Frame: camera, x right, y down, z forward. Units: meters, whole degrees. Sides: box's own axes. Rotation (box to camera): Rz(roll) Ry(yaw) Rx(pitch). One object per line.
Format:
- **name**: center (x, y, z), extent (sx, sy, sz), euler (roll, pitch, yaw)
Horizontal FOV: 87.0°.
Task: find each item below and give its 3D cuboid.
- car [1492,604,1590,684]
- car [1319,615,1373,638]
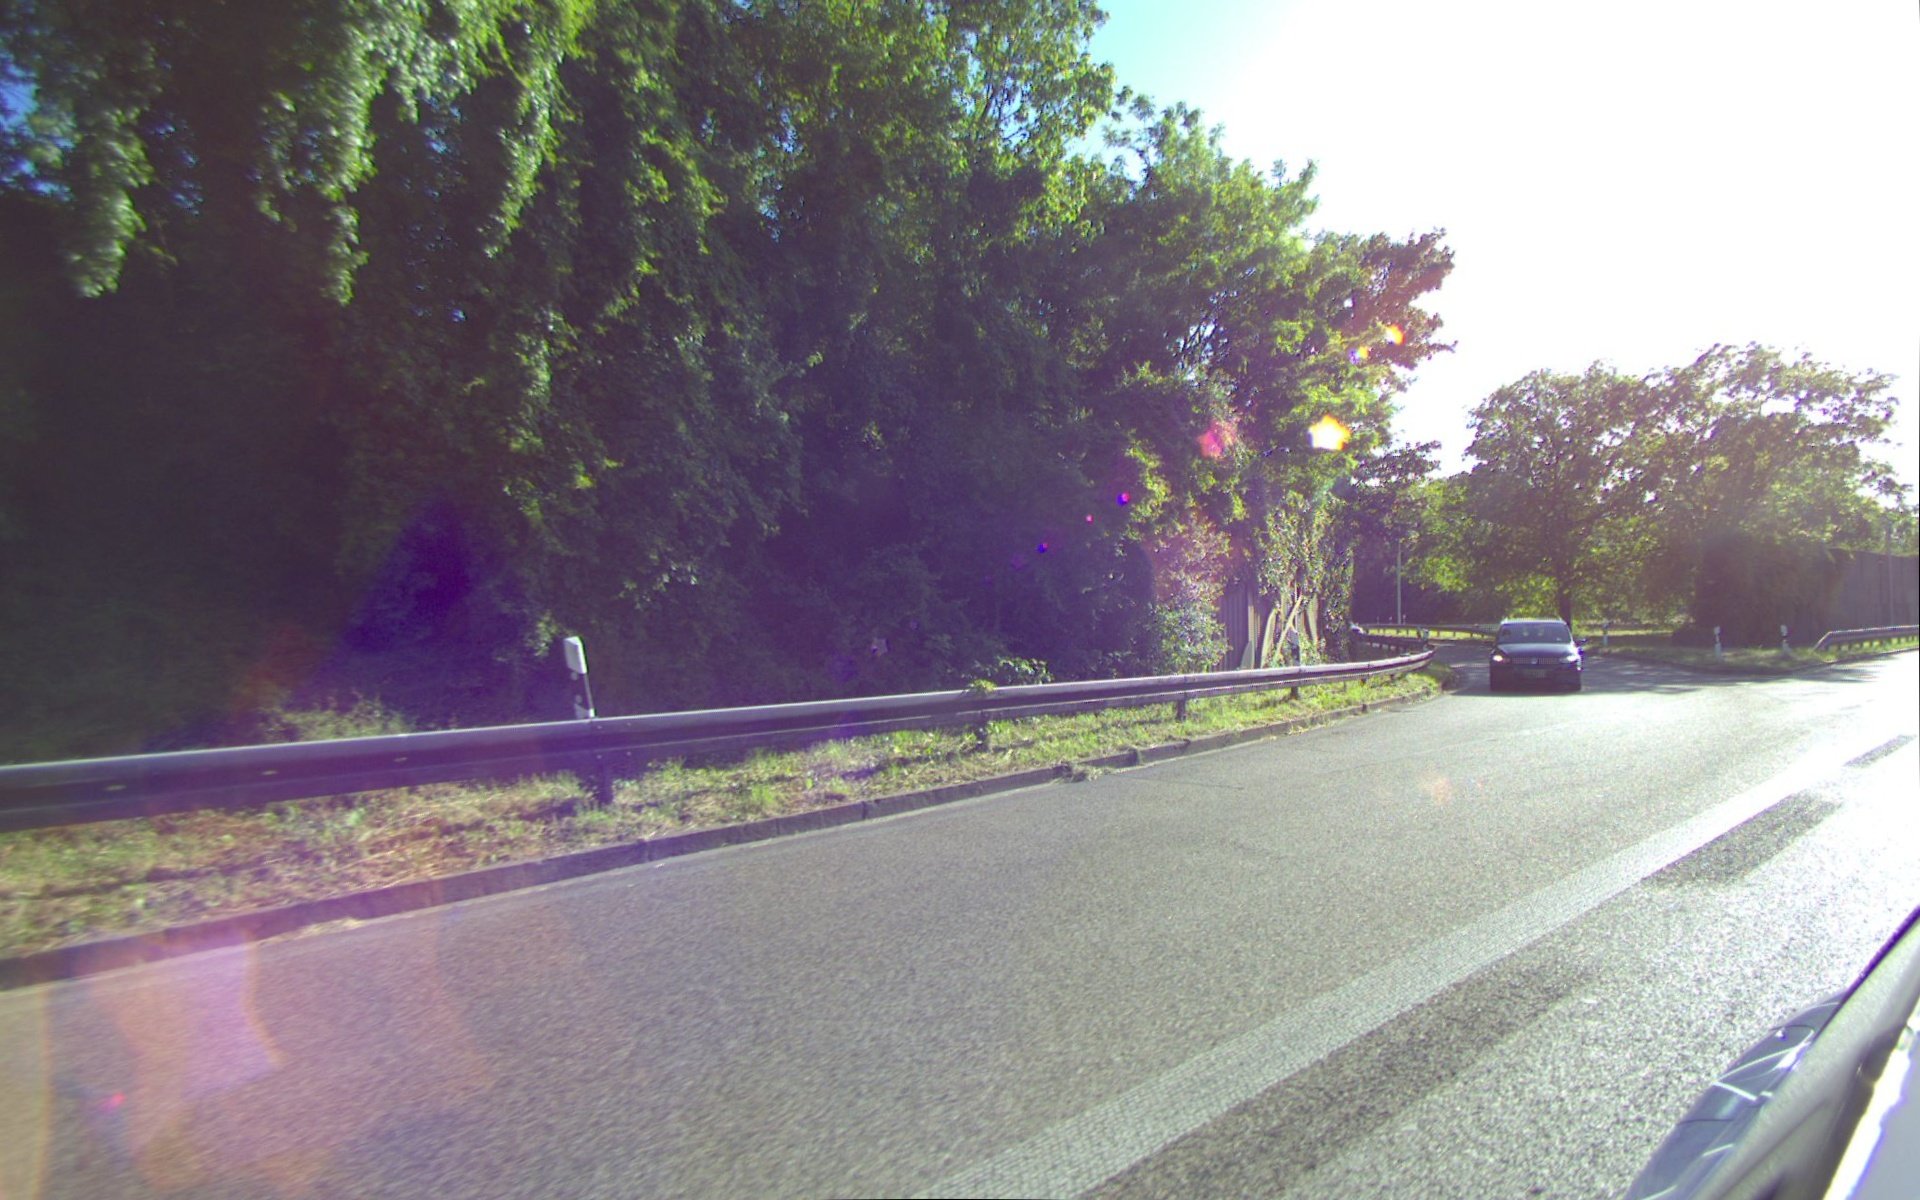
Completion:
- **car**: center (13.510, 1.013, 23.451), extent (1.734, 1.684, 3.952), euler (-3, -3, 32)
- **car**: center (23.370, 1.612, 61.446), extent (1.611, 1.301, 3.999), euler (-1, -3, -1)
